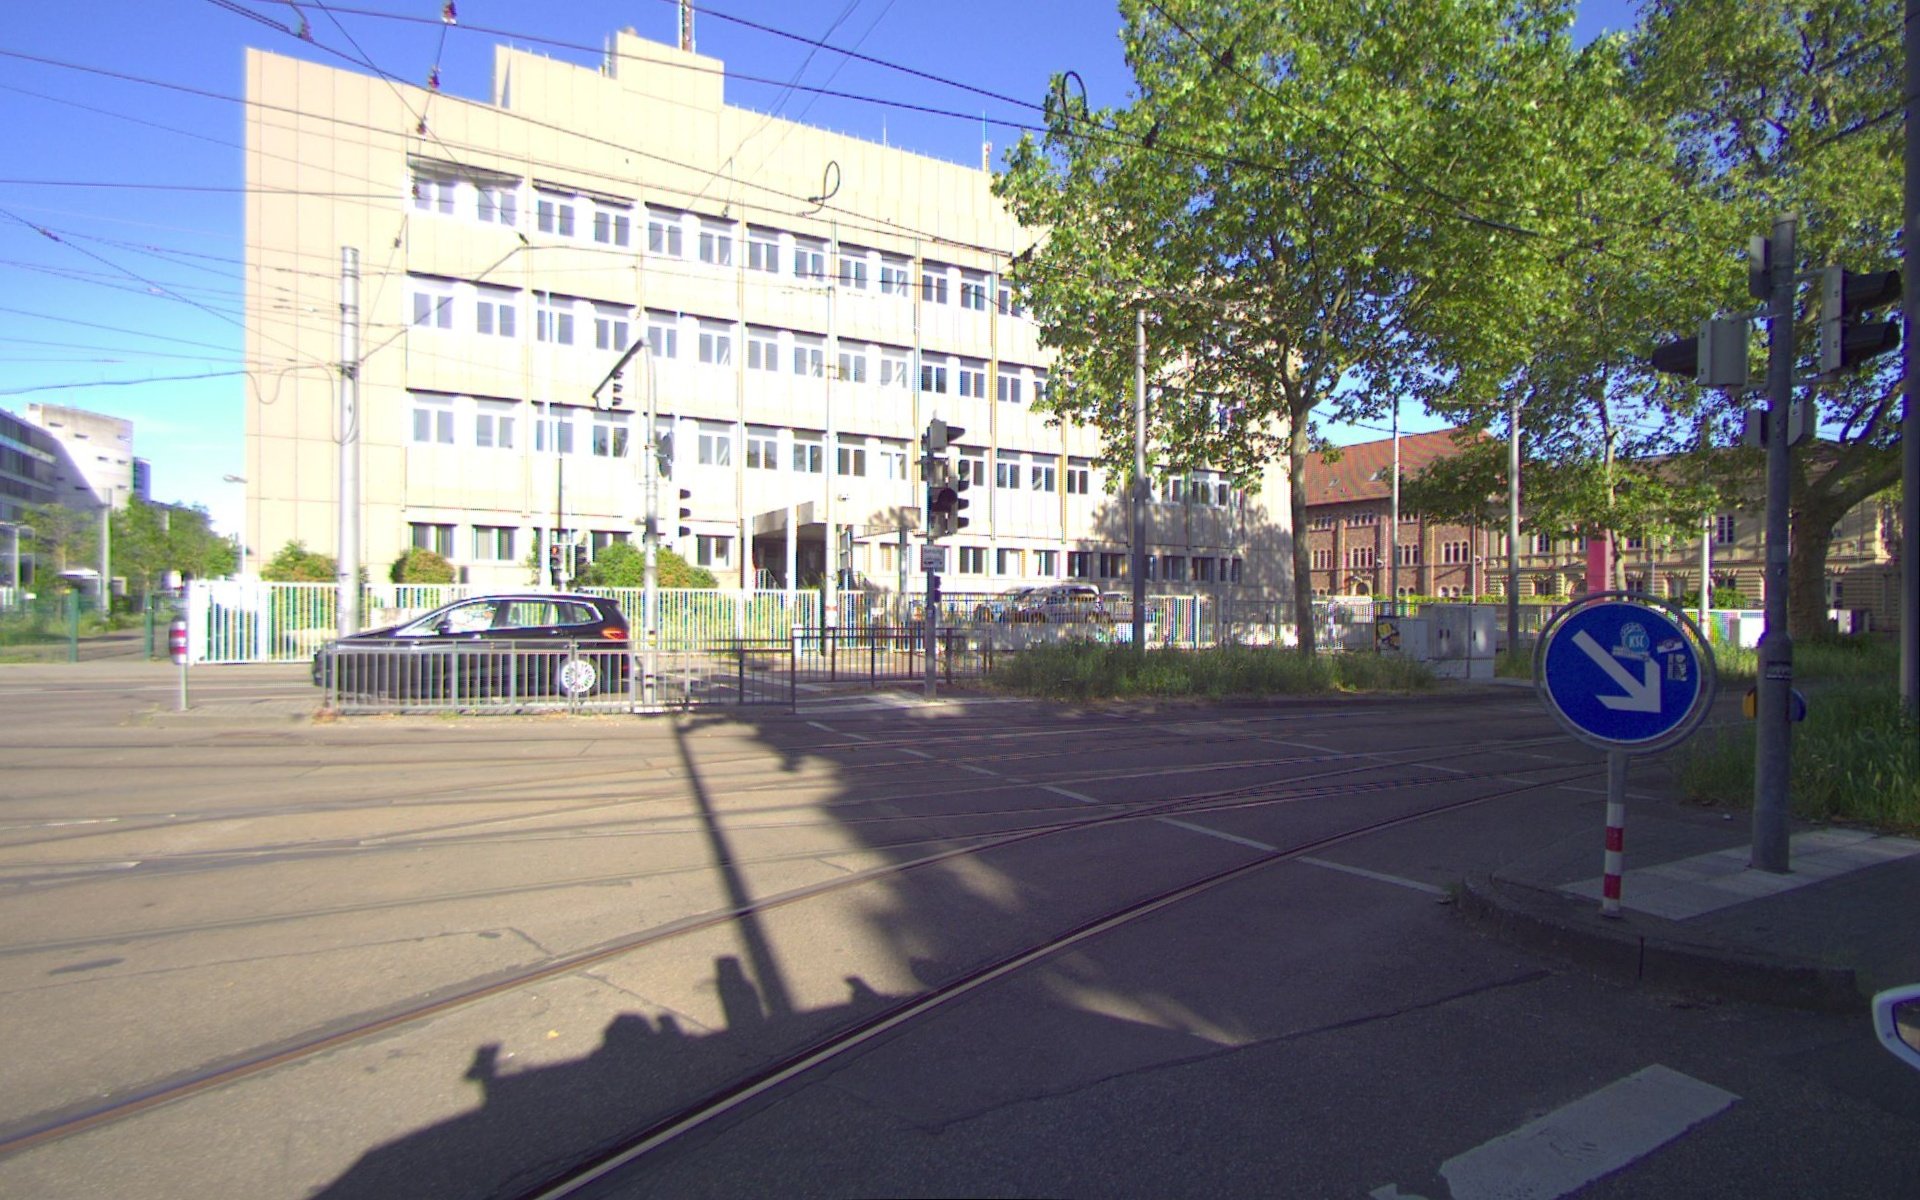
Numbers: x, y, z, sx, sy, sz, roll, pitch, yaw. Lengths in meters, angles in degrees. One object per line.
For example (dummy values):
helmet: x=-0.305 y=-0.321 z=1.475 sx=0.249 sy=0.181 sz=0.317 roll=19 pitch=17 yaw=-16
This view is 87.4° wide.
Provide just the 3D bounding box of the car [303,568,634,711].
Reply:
car: x=-7.422 y=0.540 z=15.616 sx=4.360 sy=1.974 sz=1.989 roll=0 pitch=1 yaw=-23

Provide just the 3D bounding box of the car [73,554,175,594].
car: x=-45.308 y=-1.386 z=54.545 sx=3.952 sy=2.041 sz=1.984 roll=0 pitch=1 yaw=-30

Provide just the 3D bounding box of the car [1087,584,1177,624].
car: x=9.120 y=0.200 z=53.595 sx=1.980 sy=2.040 sz=4.708 roll=0 pitch=0 yaw=-35

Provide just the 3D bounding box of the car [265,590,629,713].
car: x=-7.718 y=0.692 z=15.440 sx=4.699 sy=1.638 sz=1.984 roll=0 pitch=0 yaw=-30

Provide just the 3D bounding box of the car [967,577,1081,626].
car: x=2.845 y=0.079 z=44.403 sx=4.660 sy=2.040 sz=1.988 roll=0 pitch=0 yaw=-25

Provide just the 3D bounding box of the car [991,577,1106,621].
car: x=3.656 y=-0.017 z=41.528 sx=4.318 sy=1.726 sz=1.988 roll=0 pitch=0 yaw=-25
